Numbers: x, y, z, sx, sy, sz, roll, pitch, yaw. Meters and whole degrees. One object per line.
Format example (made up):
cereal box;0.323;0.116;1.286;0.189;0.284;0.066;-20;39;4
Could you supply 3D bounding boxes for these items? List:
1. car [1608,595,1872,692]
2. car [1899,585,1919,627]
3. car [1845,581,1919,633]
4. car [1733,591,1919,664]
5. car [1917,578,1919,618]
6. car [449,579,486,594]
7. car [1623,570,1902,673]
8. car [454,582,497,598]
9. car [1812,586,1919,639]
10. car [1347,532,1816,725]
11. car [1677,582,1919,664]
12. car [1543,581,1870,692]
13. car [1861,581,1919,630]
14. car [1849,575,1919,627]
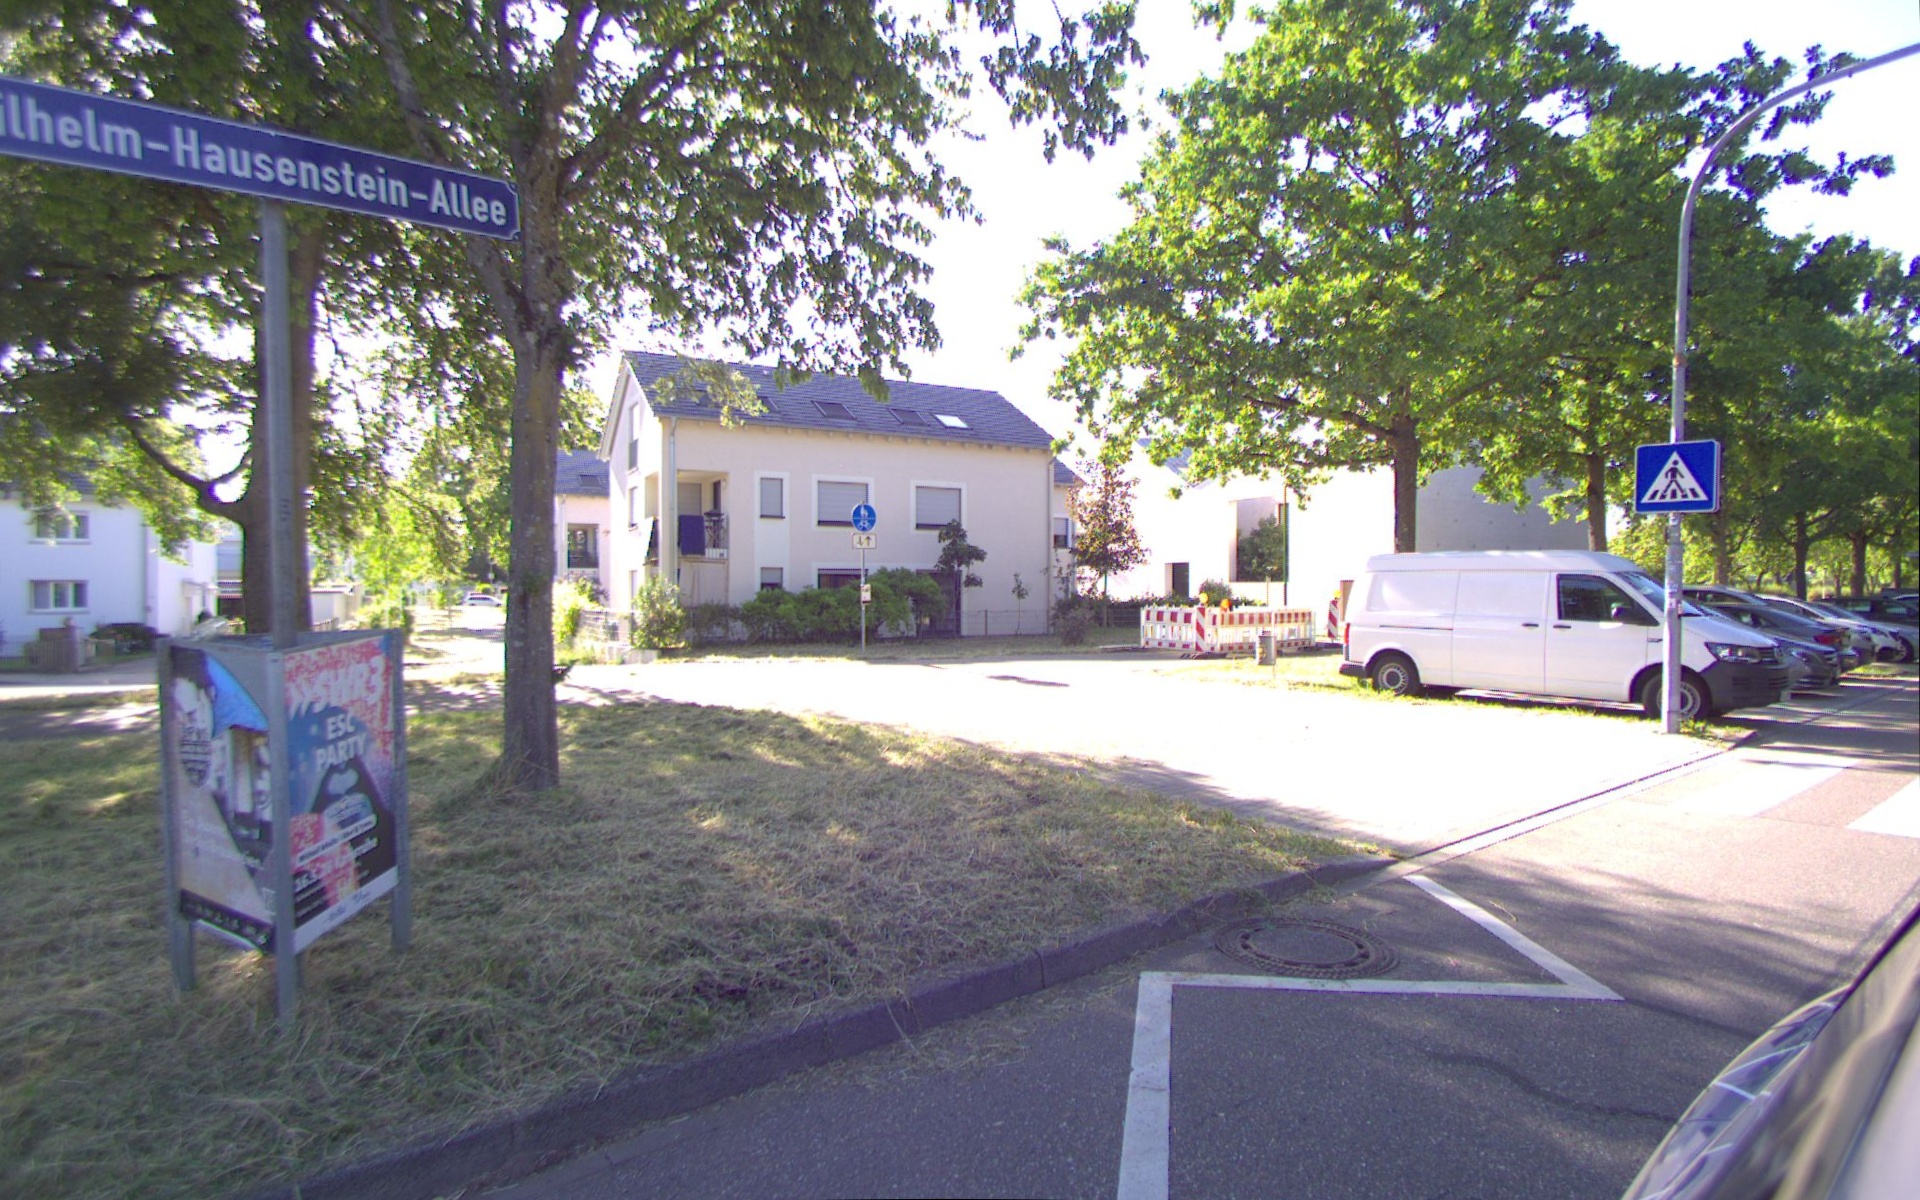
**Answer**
car;13.912;0.707;18.212;1.421;1.561;3.517;0;0;-37
car;41.434;0.233;41.263;1.504;1.765;4.396;0;0;-37
car;32.942;0.230;34.165;1.504;1.765;4.396;0;0;-37
car;21.515;0.628;24.643;1.504;1.681;4.020;0;0;-37
car;43.586;-0.108;42.755;1.504;1.765;4.396;0;0;-37
car;-68.375;-1.915;140.535;4.524;2.039;2.003;0;0;-24
car;15.701;0.378;19.981;1.681;1.816;4.020;0;0;-37
car;-62.394;-1.278;130.375;4.543;2.039;1.995;0;0;-43
car;30.421;0.392;32.551;1.504;1.662;4.396;0;0;-37
car;8.011;0.264;13.566;1.857;2.107;5.044;0;1;-39
car;18.991;0.488;23.091;1.504;1.700;4.020;0;0;-37
car;12.078;0.531;16.614;1.725;1.583;3.997;0;0;-37
car;35.978;0.193;36.934;1.504;1.765;4.396;0;0;-37
car;37.905;0.031;39.631;1.504;2.013;4.396;0;0;-37
